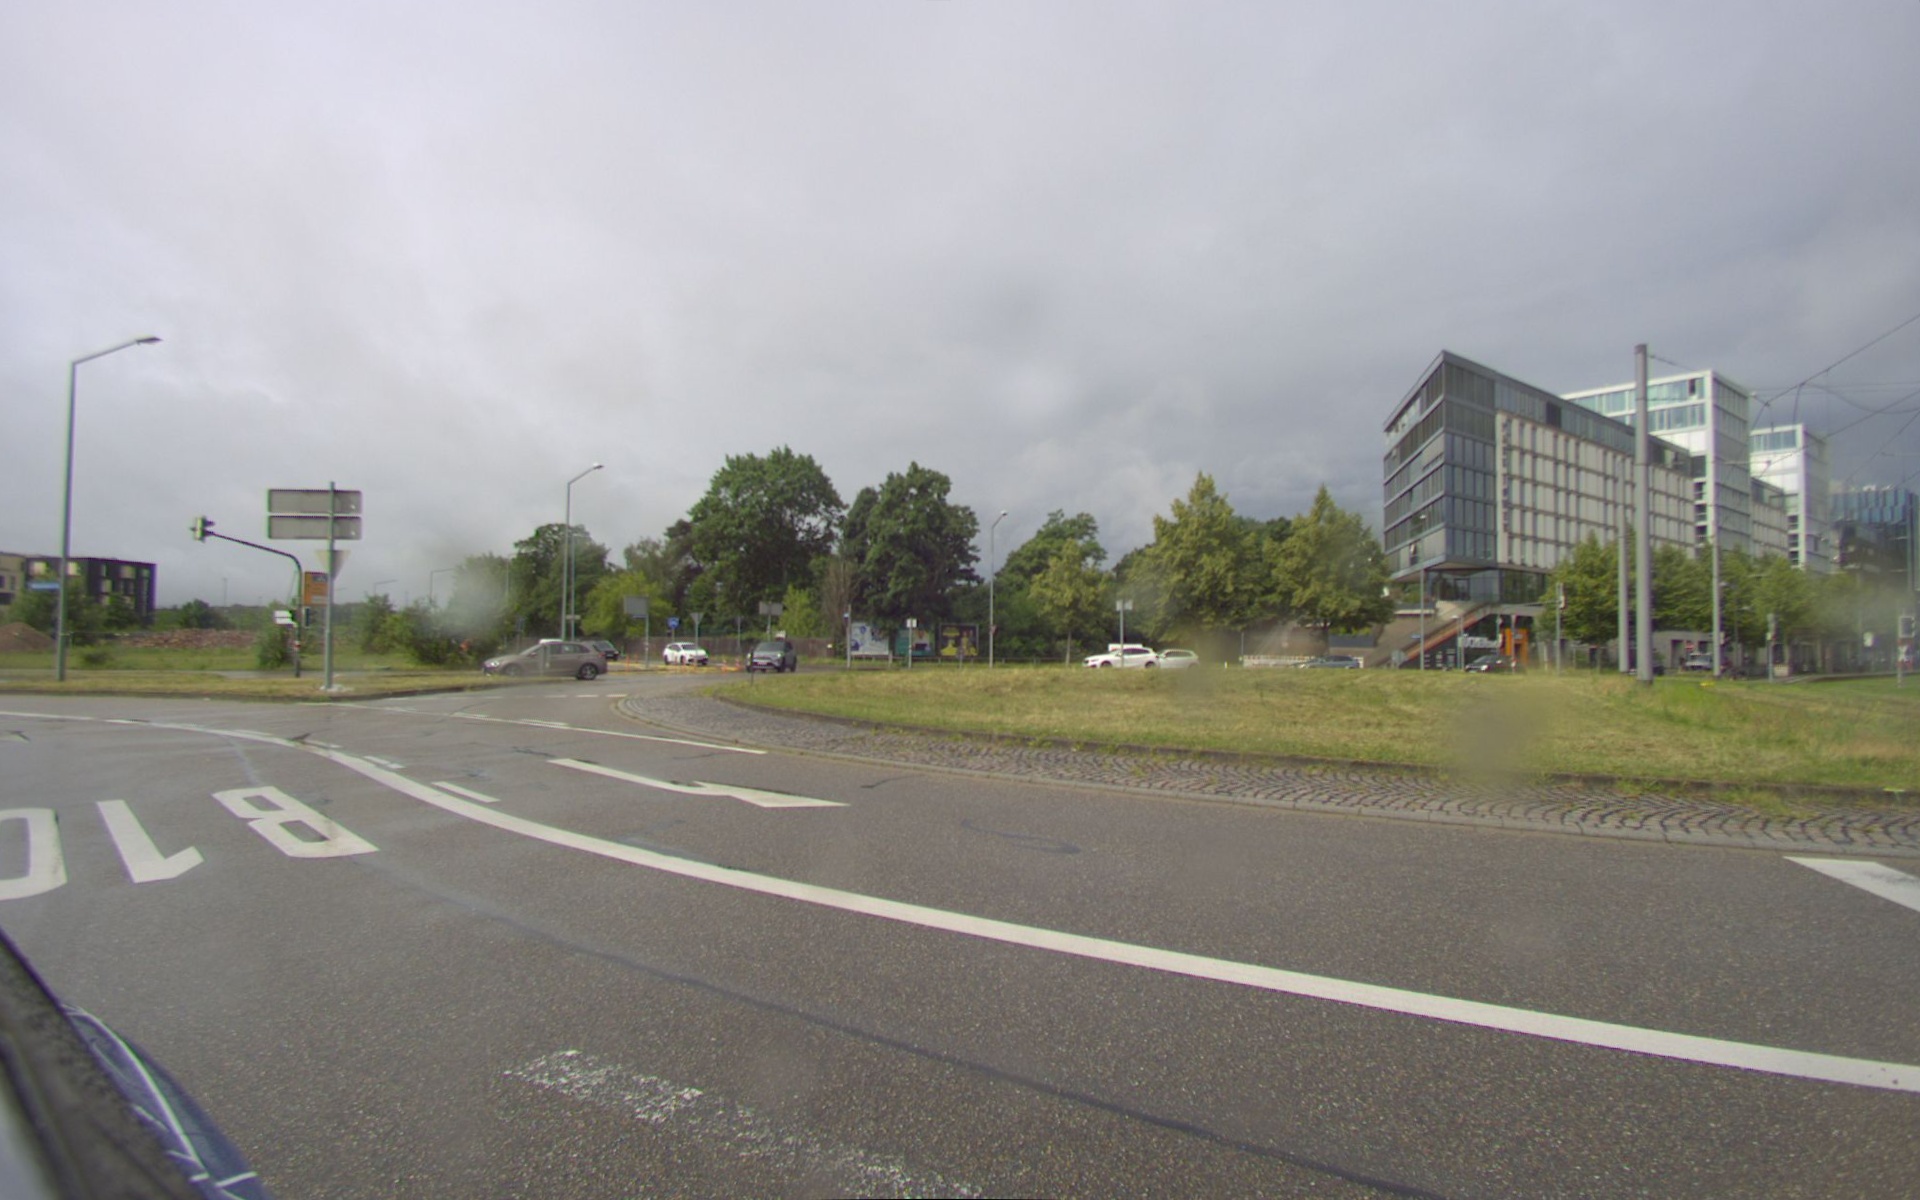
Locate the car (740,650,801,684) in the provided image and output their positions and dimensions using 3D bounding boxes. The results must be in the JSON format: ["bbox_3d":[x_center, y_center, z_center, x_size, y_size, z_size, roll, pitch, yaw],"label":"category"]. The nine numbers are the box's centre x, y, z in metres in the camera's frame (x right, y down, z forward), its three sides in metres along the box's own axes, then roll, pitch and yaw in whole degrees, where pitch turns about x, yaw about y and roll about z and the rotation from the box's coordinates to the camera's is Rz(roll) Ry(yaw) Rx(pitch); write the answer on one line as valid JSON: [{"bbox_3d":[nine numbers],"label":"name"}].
[{"bbox_3d":[-9.719,3.420,52.213,1.853,1.676,4.473,-1,-3,7],"label":"car"}]

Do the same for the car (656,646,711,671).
[{"bbox_3d":[-19.247,4.047,70.447,1.847,1.676,4.488,0,-3,-42],"label":"car"}]

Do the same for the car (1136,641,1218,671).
[{"bbox_3d":[13.004,3.380,60.681,4.399,1.685,1.870,2,-4,-8],"label":"car"}]

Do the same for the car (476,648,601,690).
[{"bbox_3d":[-15.513,2.519,37.306,4.057,1.424,1.740,1,-4,-31],"label":"car"}]

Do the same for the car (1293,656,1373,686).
[{"bbox_3d":[22.779,4.355,61.790,4.393,1.685,1.872,3,-4,-19],"label":"car"}]

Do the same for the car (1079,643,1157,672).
[{"bbox_3d":[8.609,3.139,55.359,3.840,1.519,1.731,1,-3,-12],"label":"car"}]

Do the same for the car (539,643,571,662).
[{"bbox_3d":[-37.106,4.856,92.653,1.844,1.676,4.495,3,-5,-32],"label":"car"}]

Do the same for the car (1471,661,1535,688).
[{"bbox_3d":[32.141,4.388,59.850,3.839,1.519,1.731,3,-4,-34],"label":"car"}]
